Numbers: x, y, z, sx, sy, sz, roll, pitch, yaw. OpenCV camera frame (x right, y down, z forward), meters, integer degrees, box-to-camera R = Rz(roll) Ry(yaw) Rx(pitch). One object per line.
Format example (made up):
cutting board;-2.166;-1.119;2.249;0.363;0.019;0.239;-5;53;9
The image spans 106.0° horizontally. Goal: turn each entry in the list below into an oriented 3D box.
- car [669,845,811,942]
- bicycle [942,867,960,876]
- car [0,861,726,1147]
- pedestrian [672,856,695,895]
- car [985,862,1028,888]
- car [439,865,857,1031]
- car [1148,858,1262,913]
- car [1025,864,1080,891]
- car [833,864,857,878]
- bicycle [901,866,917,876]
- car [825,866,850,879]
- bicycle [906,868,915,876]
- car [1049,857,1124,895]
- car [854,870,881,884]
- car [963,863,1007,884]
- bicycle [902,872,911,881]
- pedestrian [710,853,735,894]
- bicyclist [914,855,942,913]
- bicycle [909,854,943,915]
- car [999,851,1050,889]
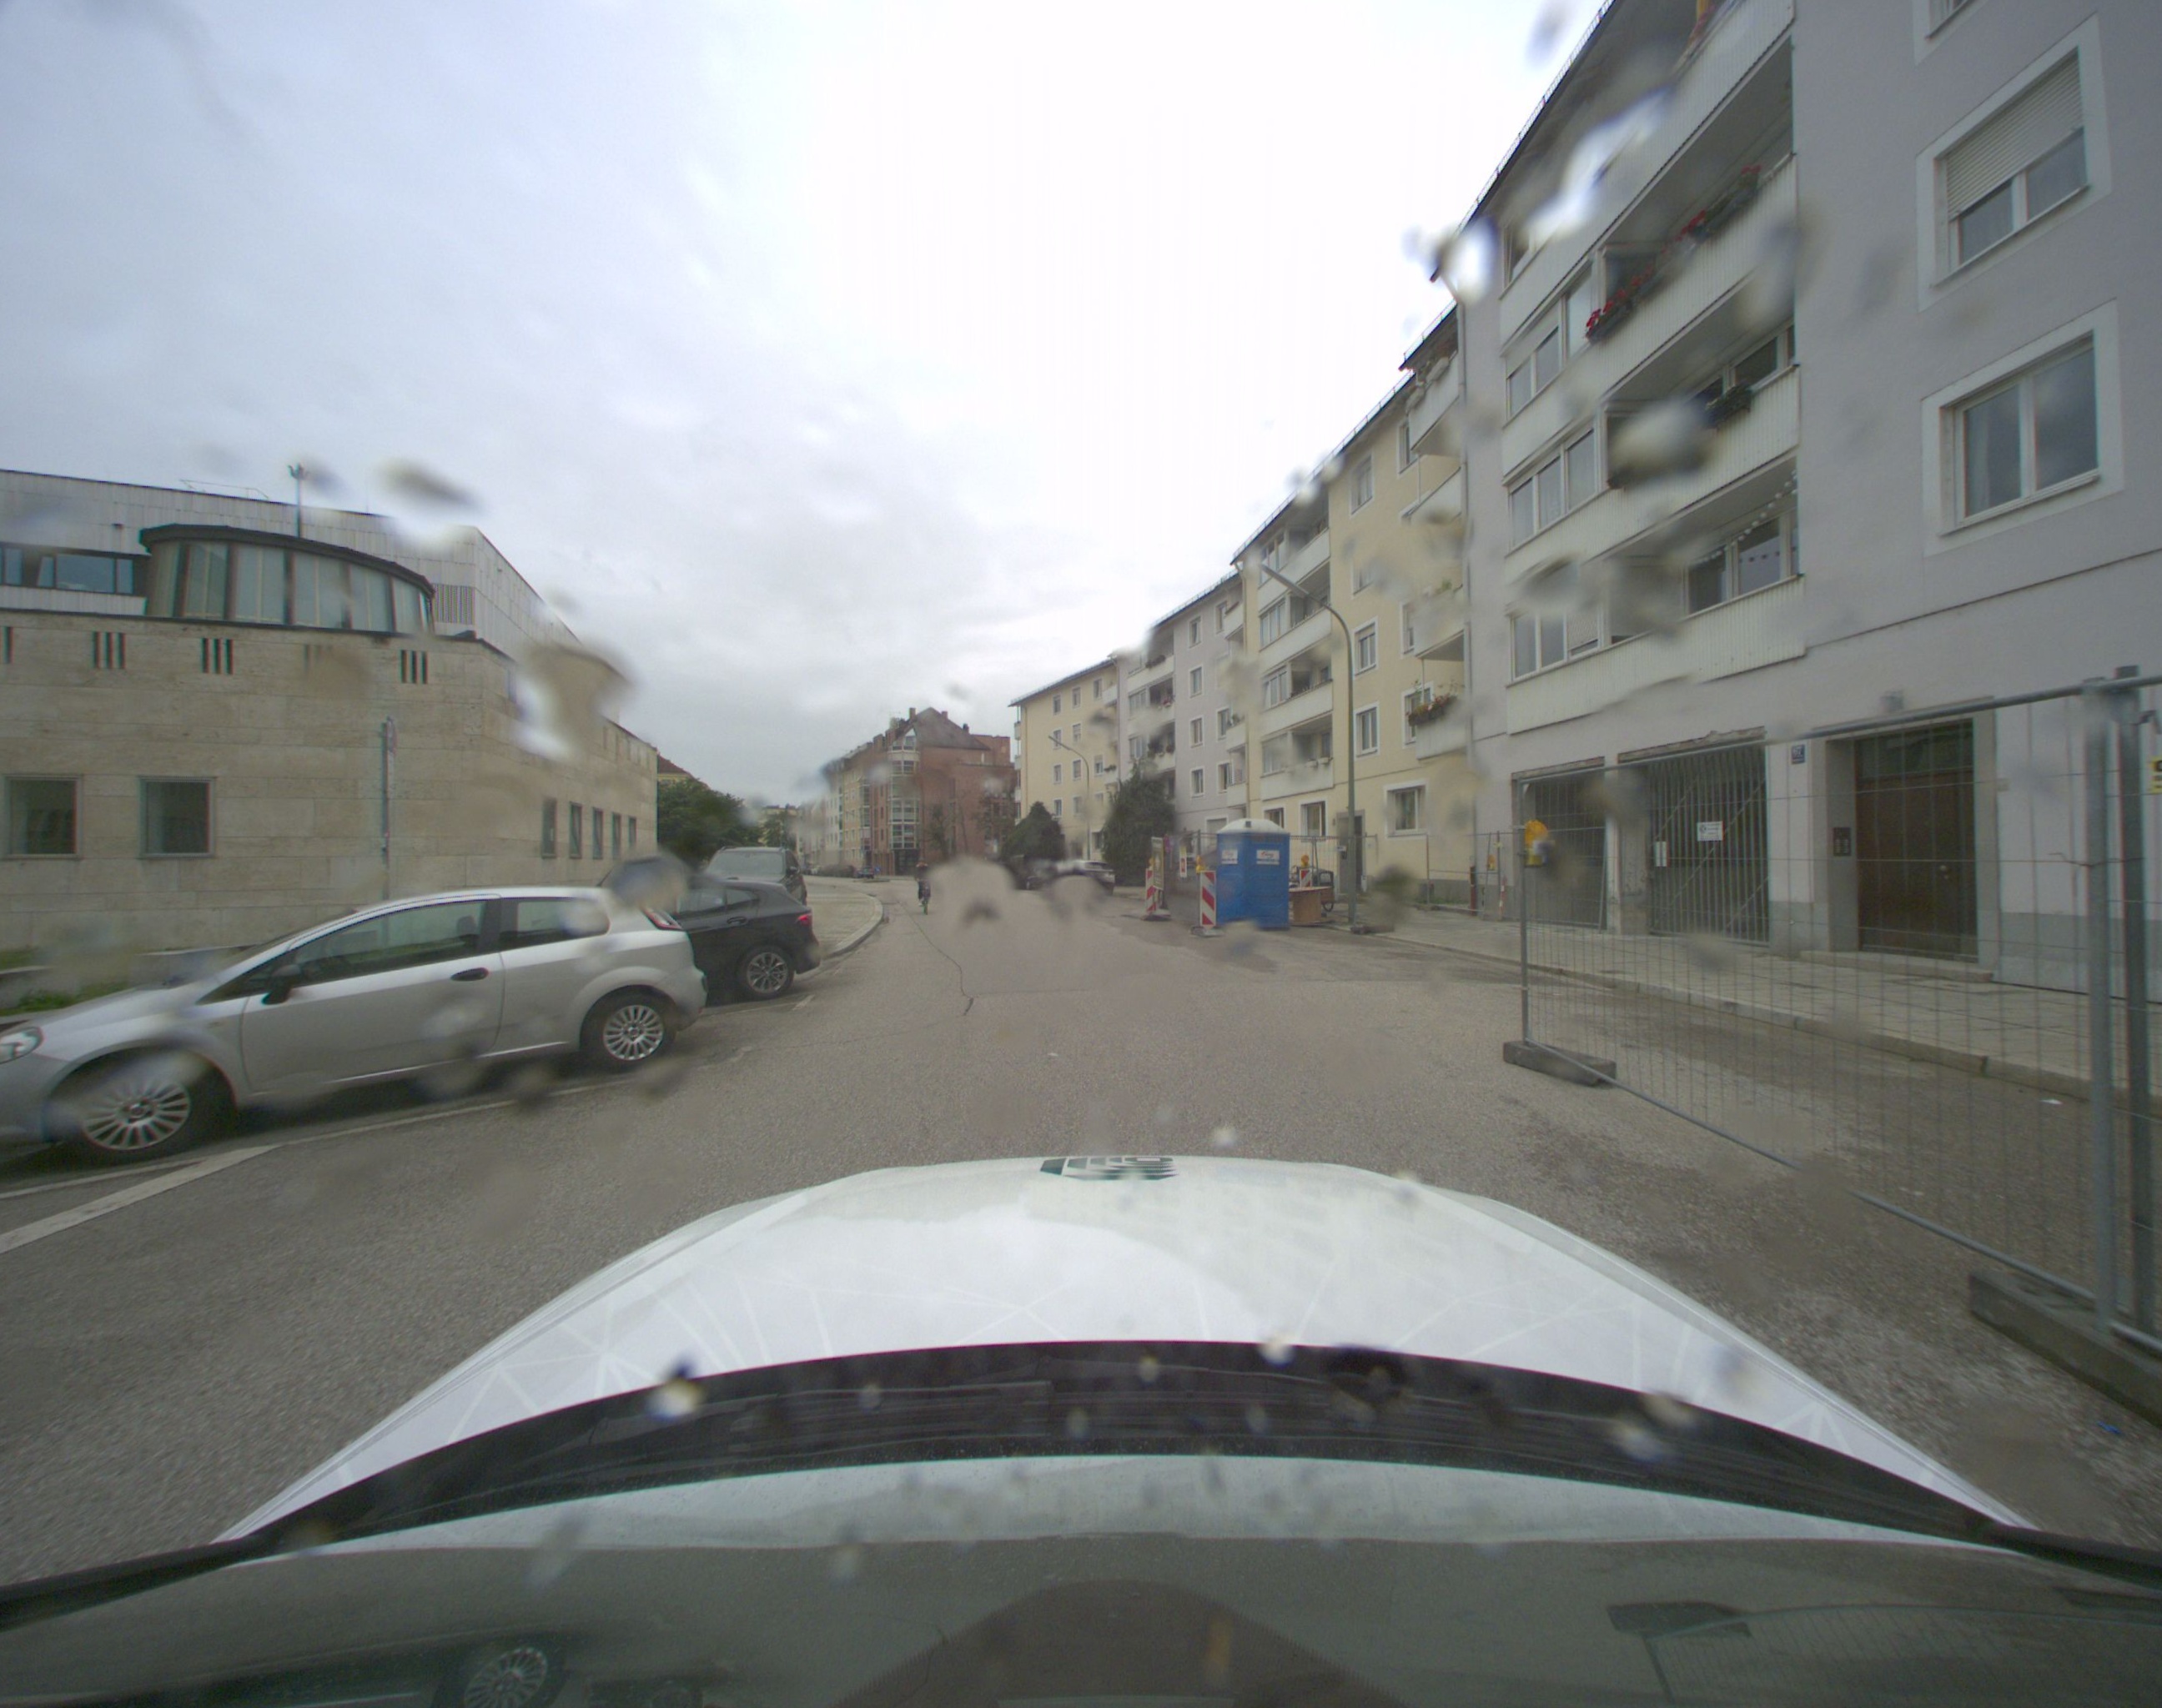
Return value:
car;-7.153;0.730;17.607;1.995;1.772;4.794;-1;0;-13
bicycle;-13.689;1.847;85.641;1.709;0.966;0.541;1;-1;-27
car;-4.998;0.856;6.106;4.001;1.530;1.657;1;-1;-37
pedestrian;-16.608;0.878;34.028;0.598;1.601;0.648;0;-1;44
car;-4.862;1.366;52.667;1.664;1.566;4.483;1;-2;-20
car;-4.923;0.921;9.555;4.028;1.373;1.729;-3;-1;-40
car;3.515;0.852;24.035;1.831;1.442;4.610;1;0;-11
car;-1.546;1.253;43.487;1.666;1.349;3.774;1;-2;-24
car;-28.850;2.095;99.469;1.842;1.602;4.224;1;-1;-31
bicycle;-20.632;2.054;97.715;1.855;1.147;0.484;1;-1;-22
car;-31.088;2.326;103.879;1.977;1.602;4.626;1;-1;-31
bicycle;-20.861;2.199;99.529;0.489;1.060;1.977;1;-1;-29
car;0.194;0.983;38.775;2.033;1.678;4.580;1;-1;-21
car;-23.707;2.566;90.259;1.935;1.512;4.352;2;-2;-27
car;-6.801;1.396;57.323;1.764;1.396;4.008;2;-2;-27
bicycle;-21.320;2.706;99.214;0.489;1.060;1.976;1;-2;-30
pedestrian;-15.745;0.856;35.807;0.794;1.740;0.817;1;-1;-11
bicyclist;-4.696;0.906;25.075;0.747;1.717;1.029;-1;0;-8
bicycle;-4.770;0.888;25.208;0.794;1.722;3.106;-3;1;-8
car;-3.399;0.914;47.925;1.753;2.082;4.484;1;-1;-21
